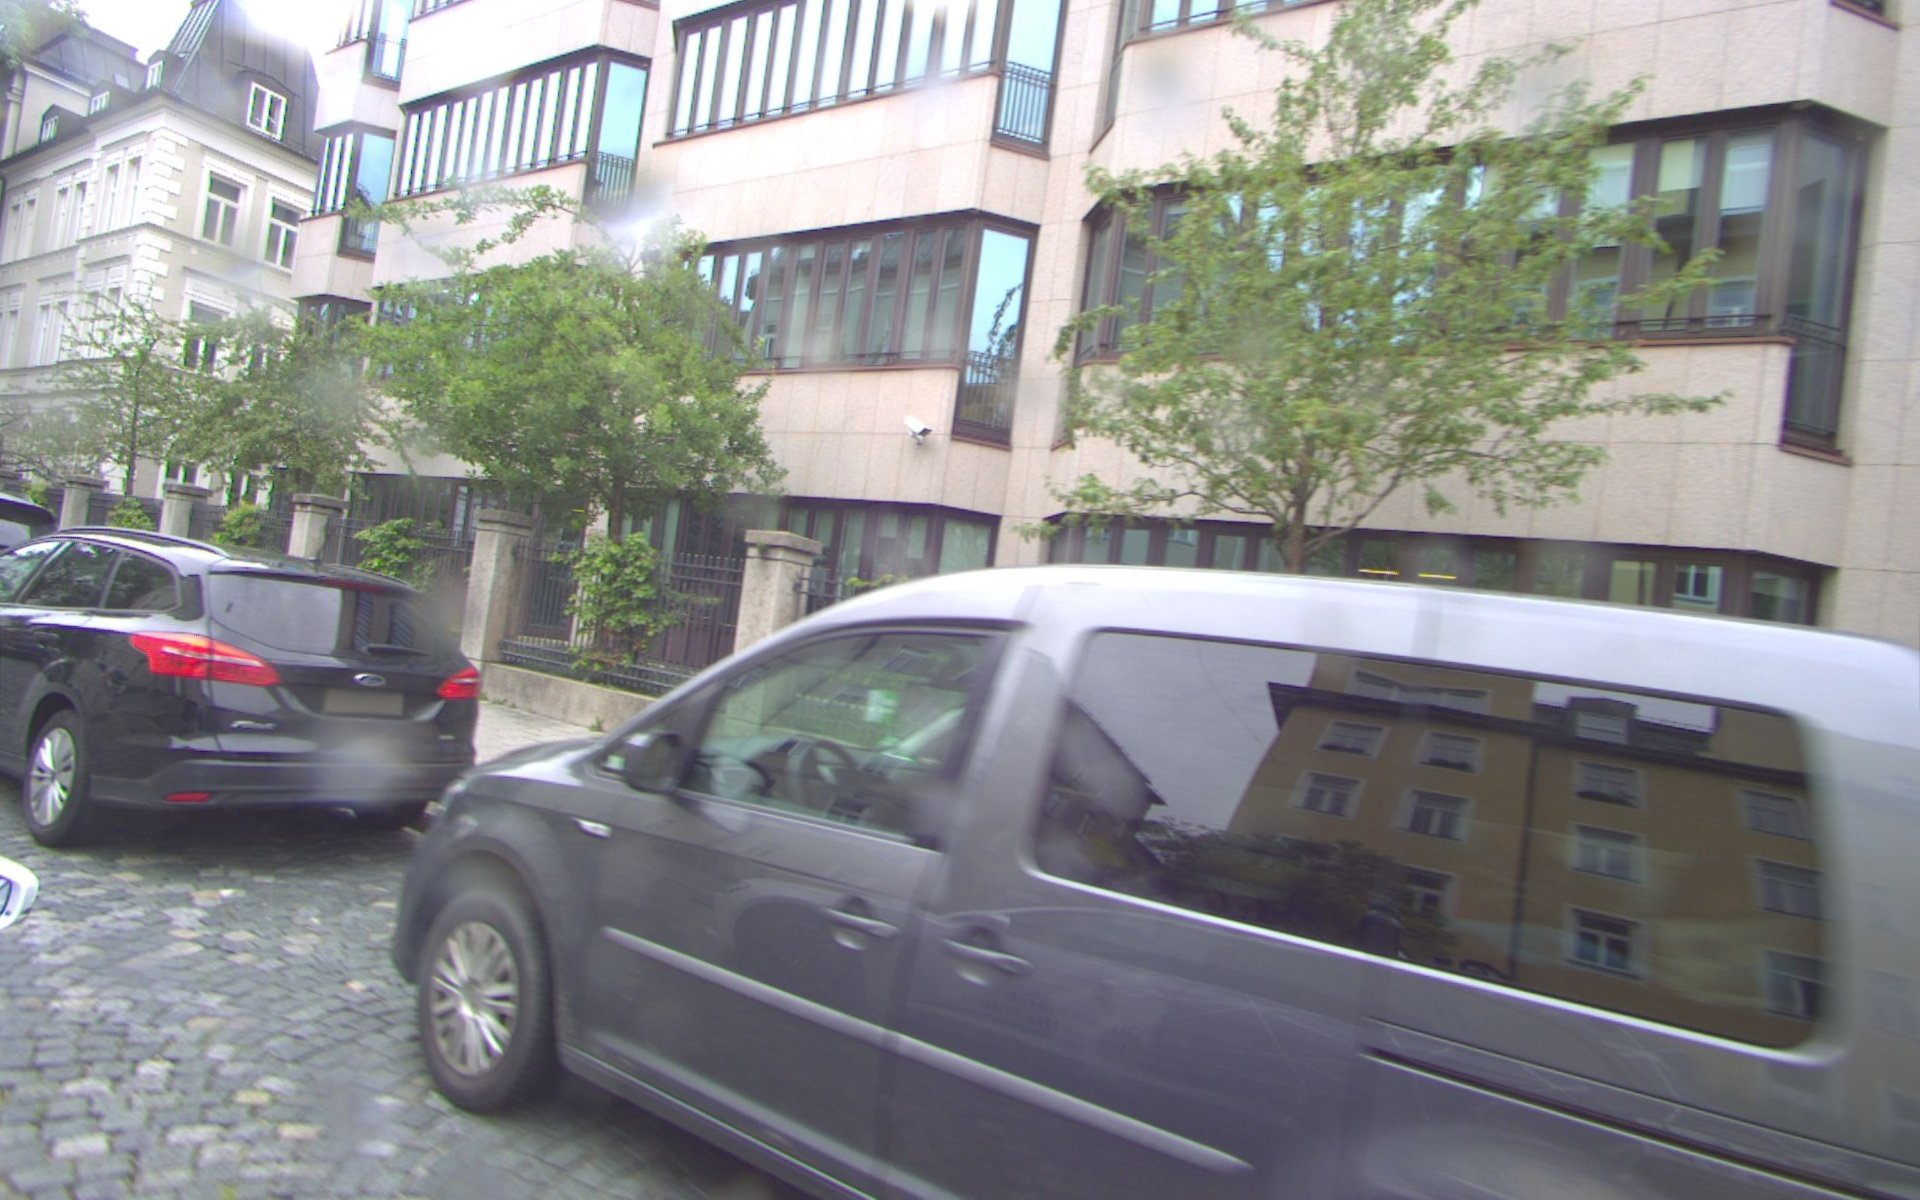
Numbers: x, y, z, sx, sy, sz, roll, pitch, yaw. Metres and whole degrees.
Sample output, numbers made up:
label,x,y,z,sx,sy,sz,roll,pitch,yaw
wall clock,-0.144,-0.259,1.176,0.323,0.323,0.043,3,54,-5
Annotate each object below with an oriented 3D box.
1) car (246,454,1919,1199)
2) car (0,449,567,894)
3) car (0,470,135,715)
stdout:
label,x,y,z,sx,sy,sz,roll,pitch,yaw
car,0.127,0.781,3.001,4.433,1.814,1.796,7,-6,31
car,-4.771,0.226,6.030,4.581,1.751,1.881,7,-6,31
car,-9.145,-0.330,8.471,4.812,1.753,1.878,7,-4,34
